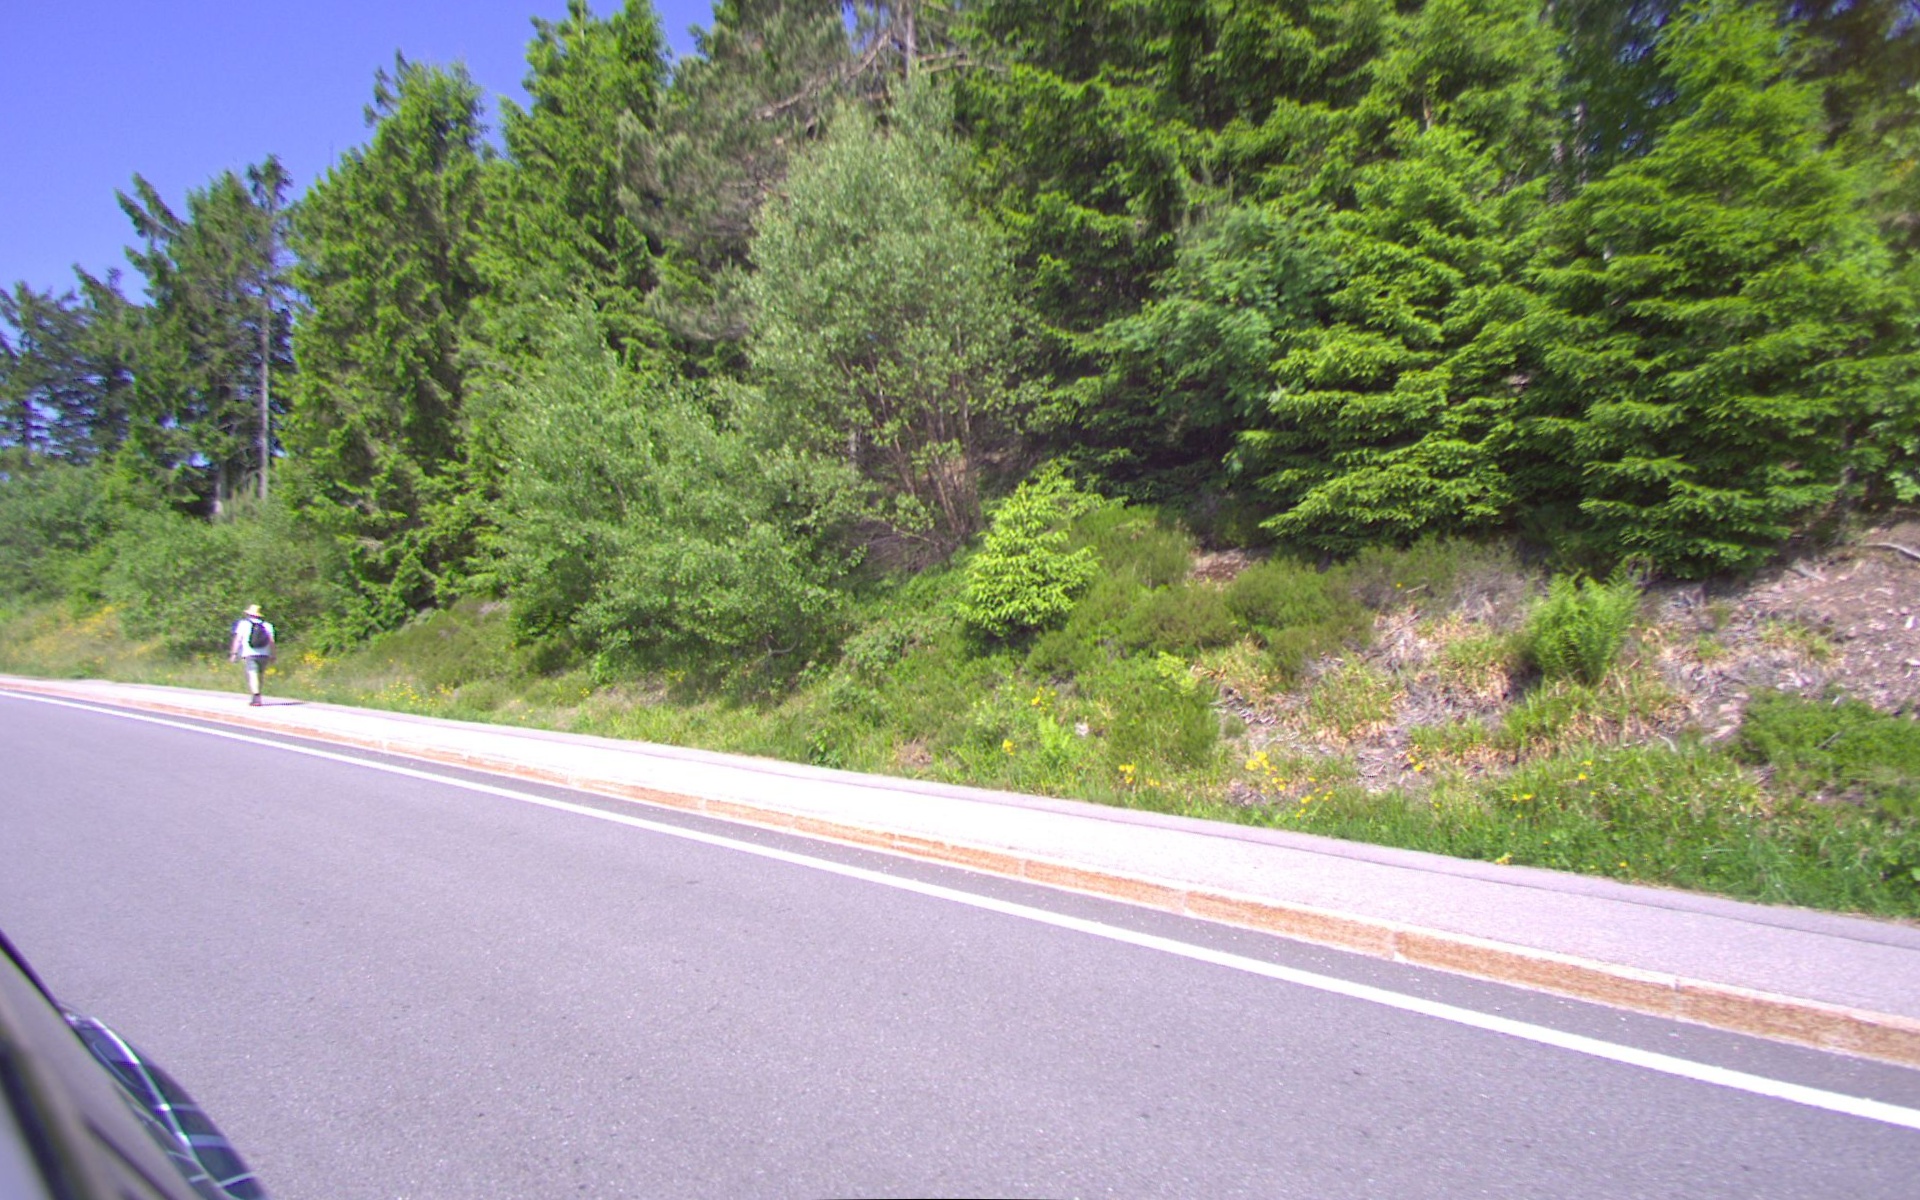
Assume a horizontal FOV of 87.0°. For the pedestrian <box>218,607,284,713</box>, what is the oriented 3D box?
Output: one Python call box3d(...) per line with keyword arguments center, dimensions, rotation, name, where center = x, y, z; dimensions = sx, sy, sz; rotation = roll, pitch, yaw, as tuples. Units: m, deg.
box3d(center=(-12.115, 1.005, 17.295), dimensions=(0.823, 1.759, 0.676), rotation=(-2, -1, 35), name="pedestrian")
